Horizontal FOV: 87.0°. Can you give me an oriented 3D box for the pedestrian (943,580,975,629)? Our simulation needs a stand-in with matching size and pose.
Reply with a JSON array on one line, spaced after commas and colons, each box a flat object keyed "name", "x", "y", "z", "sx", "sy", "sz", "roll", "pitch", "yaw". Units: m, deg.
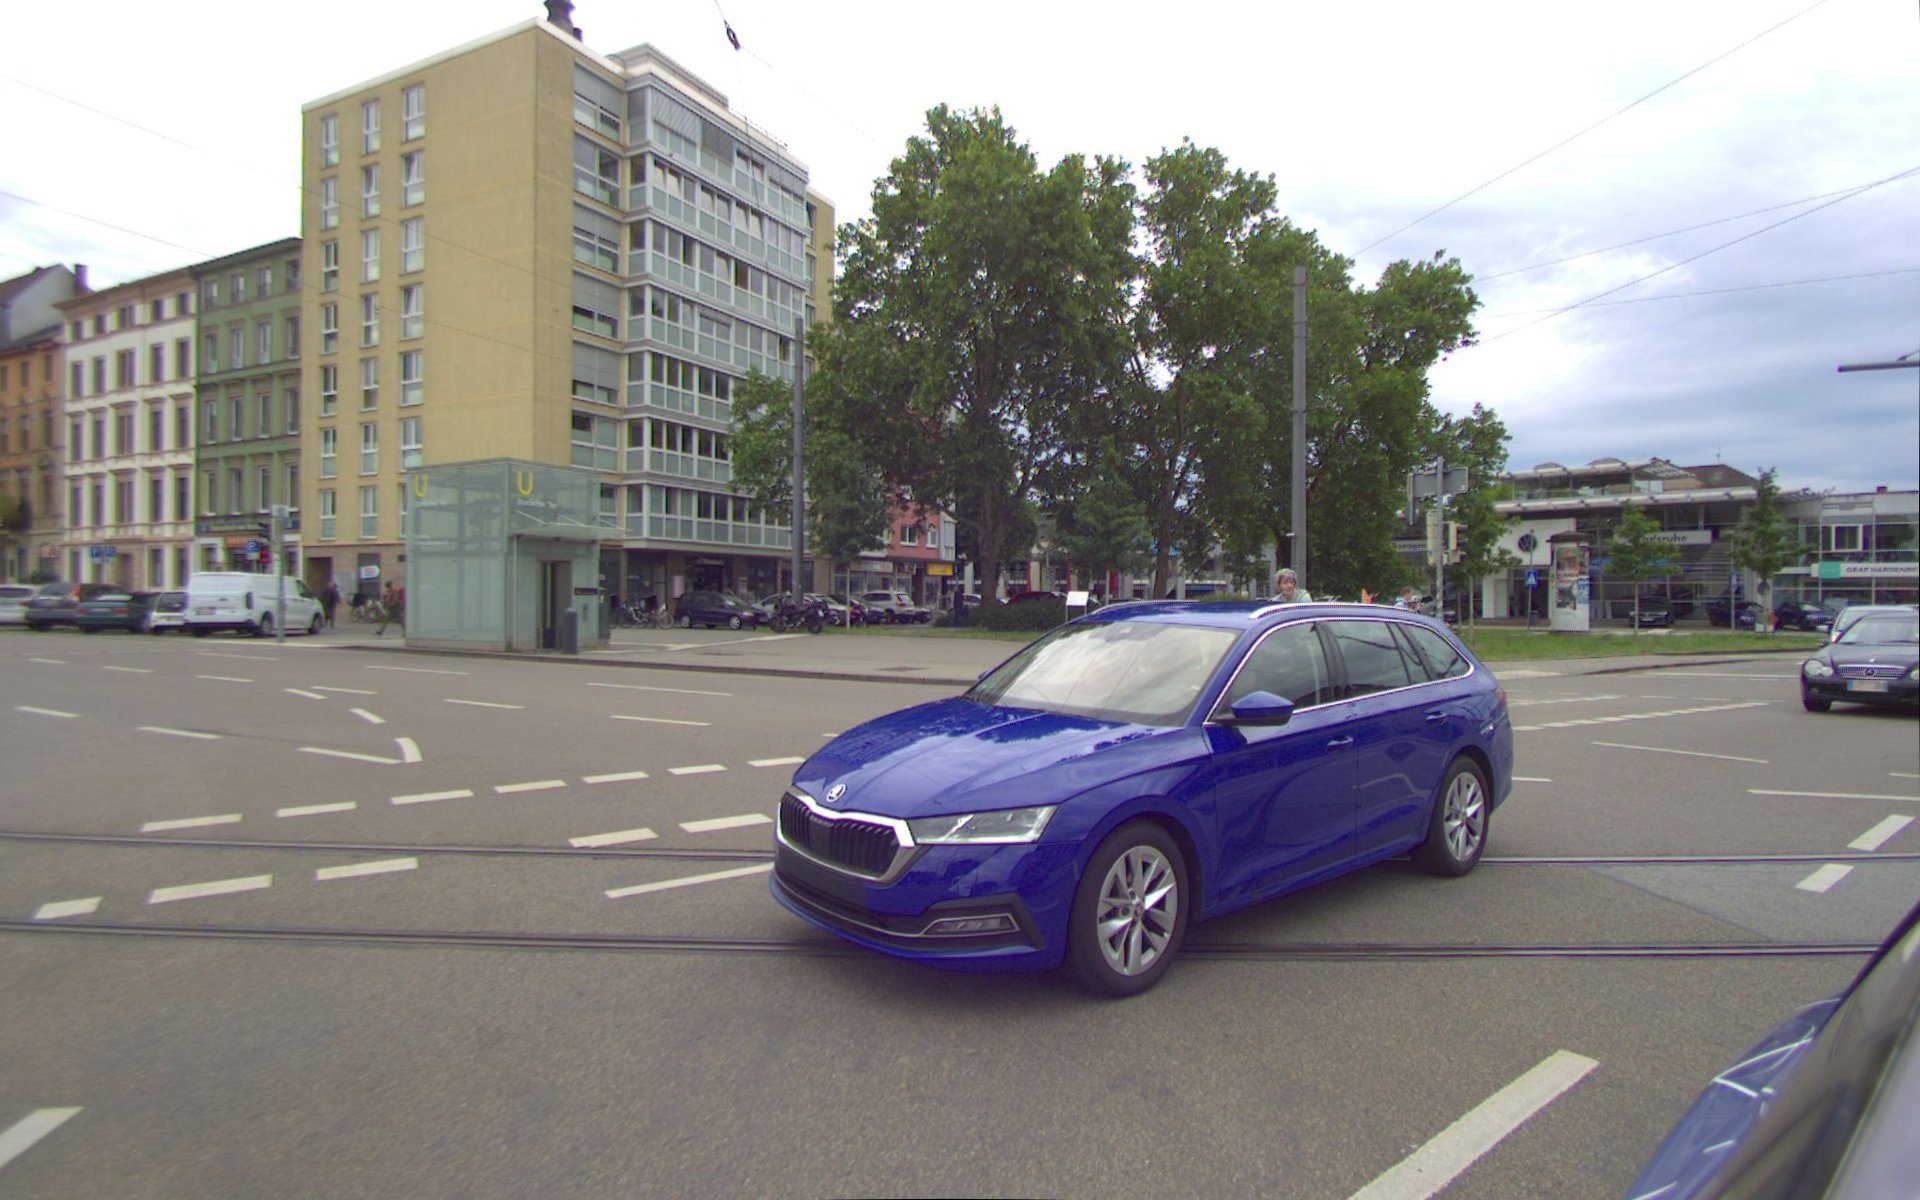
[{"name": "pedestrian", "x": -0.034, "y": 0.165, "z": 39.256, "sx": 0.861, "sy": 1.842, "sz": 0.887, "roll": 0, "pitch": 0, "yaw": 36}]

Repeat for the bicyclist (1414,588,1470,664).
[{"name": "bicyclist", "x": 10.344, "y": 0.535, "z": 21.703, "sx": 0.883, "sy": 1.540, "sz": 0.662, "roll": 4, "pitch": 2, "yaw": 40}]

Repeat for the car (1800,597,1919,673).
[{"name": "car", "x": 19.725, "y": 0.701, "z": 21.732, "sx": 3.860, "sy": 1.502, "sz": 1.709, "roll": 0, "pitch": -1, "yaw": -37}]

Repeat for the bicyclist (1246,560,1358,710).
[{"name": "bicyclist", "x": 3.932, "y": 0.393, "z": 11.647, "sx": 0.915, "sy": 1.639, "sz": 0.791, "roll": 0, "pitch": -2, "yaw": -34}]

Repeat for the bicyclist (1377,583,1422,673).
[{"name": "bicyclist", "x": 9.016, "y": 0.553, "z": 20.750, "sx": 0.730, "sy": 1.772, "sz": 0.579, "roll": 2, "pitch": 3, "yaw": 34}]

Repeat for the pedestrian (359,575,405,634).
[{"name": "pedestrian", "x": -17.841, "y": 0.137, "z": 31.265, "sx": 0.774, "sy": 1.779, "sz": 1.047, "roll": 1, "pitch": 0, "yaw": 6}]

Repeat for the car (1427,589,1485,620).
[{"name": "car", "x": 32.271, "y": 0.258, "z": 65.819, "sx": 4.164, "sy": 1.472, "sz": 1.953, "roll": -10, "pitch": 7, "yaw": -42}]

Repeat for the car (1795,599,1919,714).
[{"name": "car", "x": 13.788, "y": 0.710, "z": 14.357, "sx": 4.337, "sy": 1.388, "sz": 1.771, "roll": -1, "pitch": -1, "yaw": -33}]

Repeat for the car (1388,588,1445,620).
[{"name": "car", "x": 30.602, "y": 0.240, "z": 67.831, "sx": 4.163, "sy": 1.615, "sz": 1.953, "roll": -9, "pitch": 6, "yaw": -42}]

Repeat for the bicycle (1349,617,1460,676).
[{"name": "bicycle", "x": 9.085, "y": 0.921, "z": 20.720, "sx": 1.979, "sy": 1.010, "sz": 0.573, "roll": 4, "pitch": 4, "yaw": 34}]

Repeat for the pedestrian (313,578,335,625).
[{"name": "pedestrian", "x": -23.586, "y": 0.052, "z": 37.543, "sx": 0.606, "sy": 1.737, "sz": 0.823, "roll": 0, "pitch": 0, "yaw": -39}]

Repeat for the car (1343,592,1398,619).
[{"name": "car", "x": 28.421, "y": 0.349, "z": 70.010, "sx": 4.162, "sy": 1.484, "sz": 1.953, "roll": -7, "pitch": 5, "yaw": -42}]

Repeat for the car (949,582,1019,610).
[{"name": "car", "x": 1.499, "y": -0.268, "z": 62.854, "sx": 3.951, "sy": 1.634, "sz": 1.987, "roll": 1, "pitch": 0, "yaw": 21}]

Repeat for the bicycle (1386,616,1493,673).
[{"name": "bicycle", "x": 10.240, "y": 0.927, "z": 21.663, "sx": 1.938, "sy": 1.010, "sz": 0.593, "roll": 5, "pitch": 3, "yaw": 40}]

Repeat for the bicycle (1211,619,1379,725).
[{"name": "bicycle", "x": 3.864, "y": 0.785, "z": 11.623, "sx": 1.978, "sy": 1.093, "sz": 0.763, "roll": 0, "pitch": -2, "yaw": -34}]

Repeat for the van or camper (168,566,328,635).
[{"name": "van or camper", "x": -22.475, "y": -0.026, "z": 32.258, "sx": 2.127, "sy": 2.003, "sz": 5.477, "roll": 0, "pitch": 1, "yaw": -11}]

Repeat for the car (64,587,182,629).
[{"name": "car", "x": -27.852, "y": 0.234, "z": 33.822, "sx": 1.645, "sy": 1.320, "sz": 3.746, "roll": 0, "pitch": 0, "yaw": -15}]

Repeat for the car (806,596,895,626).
[{"name": "car", "x": -5.365, "y": 0.501, "z": 49.517, "sx": 3.949, "sy": 1.352, "sz": 1.825, "roll": 1, "pitch": 1, "yaw": 20}]

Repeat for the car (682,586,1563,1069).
[{"name": "car", "x": 1.149, "y": 0.673, "z": 5.190, "sx": 4.670, "sy": 1.454, "sz": 1.770, "roll": 0, "pitch": 0, "yaw": -38}]

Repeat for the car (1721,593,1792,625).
[{"name": "car", "x": 42.542, "y": 0.438, "z": 54.175, "sx": 1.935, "sy": 1.544, "sz": 4.198, "roll": 0, "pitch": 2, "yaw": 23}]

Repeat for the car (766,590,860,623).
[{"name": "car", "x": -6.913, "y": 0.274, "z": 47.711, "sx": 3.949, "sy": 1.460, "sz": 1.988, "roll": 1, "pitch": 1, "yaw": 19}]

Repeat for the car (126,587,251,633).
[{"name": "car", "x": -25.383, "y": 0.306, "z": 33.444, "sx": 1.700, "sy": 1.435, "sz": 3.744, "roll": 0, "pitch": 0, "yaw": -9}]

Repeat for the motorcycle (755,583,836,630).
[{"name": "motorcycle", "x": -5.081, "y": 0.178, "z": 31.234, "sx": 2.264, "sy": 1.383, "sz": 1.040, "roll": 1, "pitch": 0, "yaw": 20}]

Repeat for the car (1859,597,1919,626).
[{"name": "car", "x": 48.587, "y": 0.566, "z": 51.617, "sx": 1.702, "sy": 1.459, "sz": 3.902, "roll": 0, "pitch": 0, "yaw": -39}]

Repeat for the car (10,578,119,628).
[{"name": "car", "x": -30.891, "y": 0.082, "z": 35.037, "sx": 1.853, "sy": 1.602, "sz": 3.744, "roll": 0, "pitch": 0, "yaw": -26}]

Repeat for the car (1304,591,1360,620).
[{"name": "car", "x": 26.442, "y": 0.358, "z": 71.894, "sx": 4.162, "sy": 1.530, "sz": 1.953, "roll": -8, "pitch": 6, "yaw": -42}]

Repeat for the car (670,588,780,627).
[{"name": "car", "x": -9.429, "y": 0.276, "z": 40.603, "sx": 4.127, "sy": 1.461, "sz": 1.824, "roll": 1, "pitch": 1, "yaw": 28}]

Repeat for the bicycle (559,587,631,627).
[{"name": "bicycle", "x": -13.212, "y": 0.236, "z": 36.580, "sx": 2.760, "sy": 1.395, "sz": 0.894, "roll": 0, "pitch": 0, "yaw": 31}]

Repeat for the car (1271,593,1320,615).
[{"name": "car", "x": 24.821, "y": 0.286, "z": 74.881, "sx": 1.417, "sy": 1.531, "sz": 3.117, "roll": -5, "pitch": 4, "yaw": -41}]

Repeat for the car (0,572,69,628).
[{"name": "car", "x": -33.867, "y": 0.038, "z": 36.434, "sx": 1.700, "sy": 1.609, "sz": 3.741, "roll": 0, "pitch": -6, "yaw": -26}]

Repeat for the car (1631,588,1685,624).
[{"name": "car", "x": 39.561, "y": 0.301, "z": 57.329, "sx": 1.950, "sy": 1.662, "sz": 4.607, "roll": 0, "pitch": 4, "yaw": 42}]

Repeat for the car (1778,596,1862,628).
[{"name": "car", "x": 44.961, "y": 0.610, "z": 53.009, "sx": 1.766, "sy": 1.580, "sz": 4.014, "roll": 0, "pitch": 0, "yaw": 16}]

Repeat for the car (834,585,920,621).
[{"name": "car", "x": -4.215, "y": 0.123, "z": 51.601, "sx": 3.950, "sy": 1.745, "sz": 1.987, "roll": 1, "pitch": 1, "yaw": 20}]

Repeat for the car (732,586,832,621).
[{"name": "car", "x": -7.917, "y": 0.153, "z": 45.090, "sx": 3.952, "sy": 1.482, "sz": 1.986, "roll": 0, "pitch": 0, "yaw": 21}]
